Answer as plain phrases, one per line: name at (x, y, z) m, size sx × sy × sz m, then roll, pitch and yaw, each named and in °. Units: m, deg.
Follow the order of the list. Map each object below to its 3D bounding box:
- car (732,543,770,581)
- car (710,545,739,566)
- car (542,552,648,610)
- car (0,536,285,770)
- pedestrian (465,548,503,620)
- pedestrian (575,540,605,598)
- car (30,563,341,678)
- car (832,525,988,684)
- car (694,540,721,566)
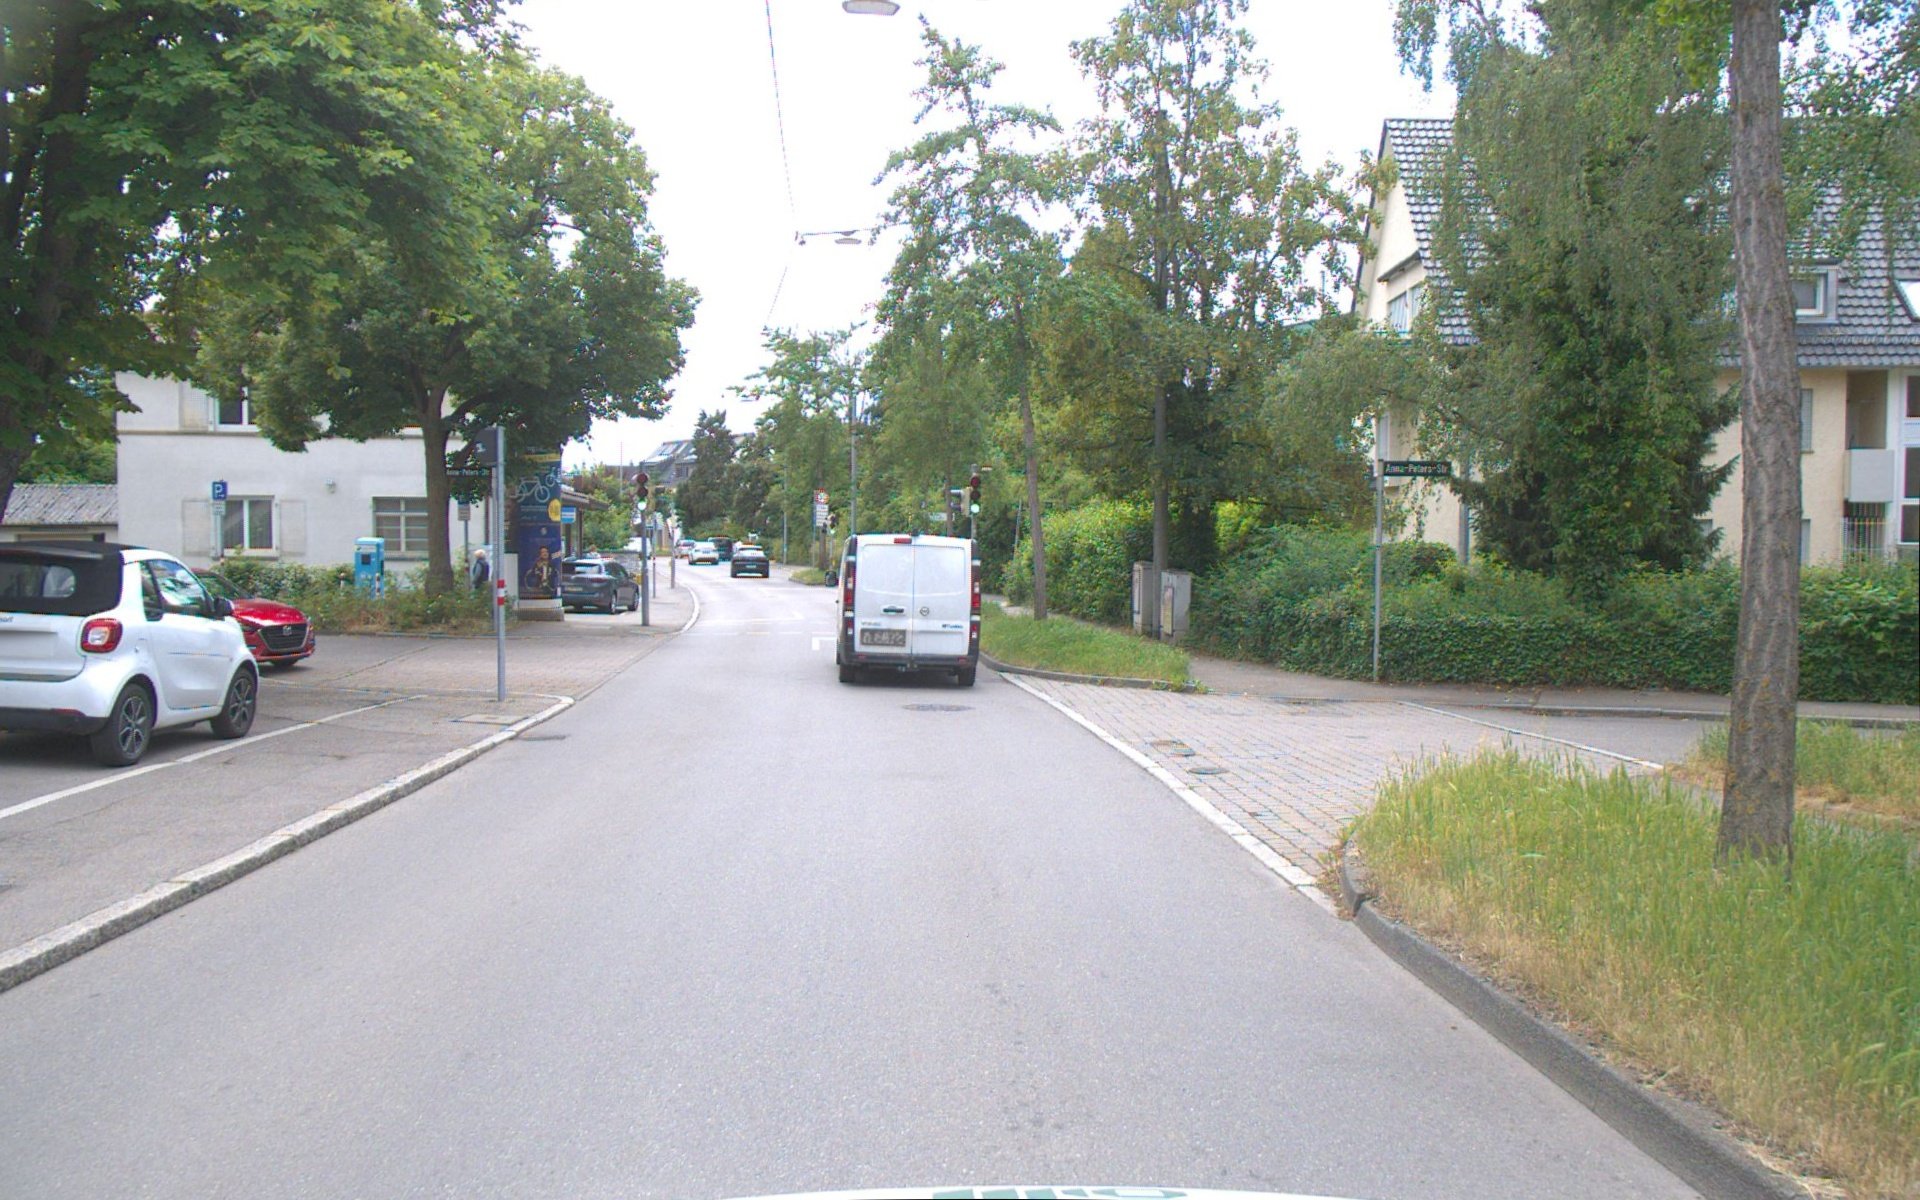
car at (-10.789, -1.970, 85.173) m, size 1.861 × 1.892 × 4.397 m, roll 1°, pitch 1°, yaw -8°
car at (-18.946, -3.591, 132.808) m, size 1.862 × 1.639 × 4.484 m, roll 1°, pitch 1°, yaw -14°
car at (-9.930, -0.523, 45.333) m, size 1.742 × 1.466 × 4.526 m, roll 2°, pitch 1°, yaw 2°
car at (-6.632, 0.323, 12.868) m, size 1.556 × 1.565 × 2.923 m, roll 3°, pitch 1°, yaw -1°
pedestrian at (-11.081, -0.381, 38.492) m, size 0.683 × 1.644 × 0.715 m, roll 1°, pitch 2°, yaw -2°
pedestrian at (-11.693, -0.996, 52.327) m, size 0.867 × 1.781 × 0.961 m, roll 2°, pitch 1°, yaw -13°
car at (-11.297, 0.240, 24.140) m, size 4.135 × 1.457 × 1.816 m, roll 1°, pitch 4°, yaw 24°
car at (-0.804, 0.011, 23.234) m, size 1.892 × 1.998 × 4.397 m, roll 1°, pitch 1°, yaw -5°
car at (-18.204, -3.380, 118.928) m, size 1.792 × 1.758 × 3.991 m, roll 1°, pitch 1°, yaw -10°
